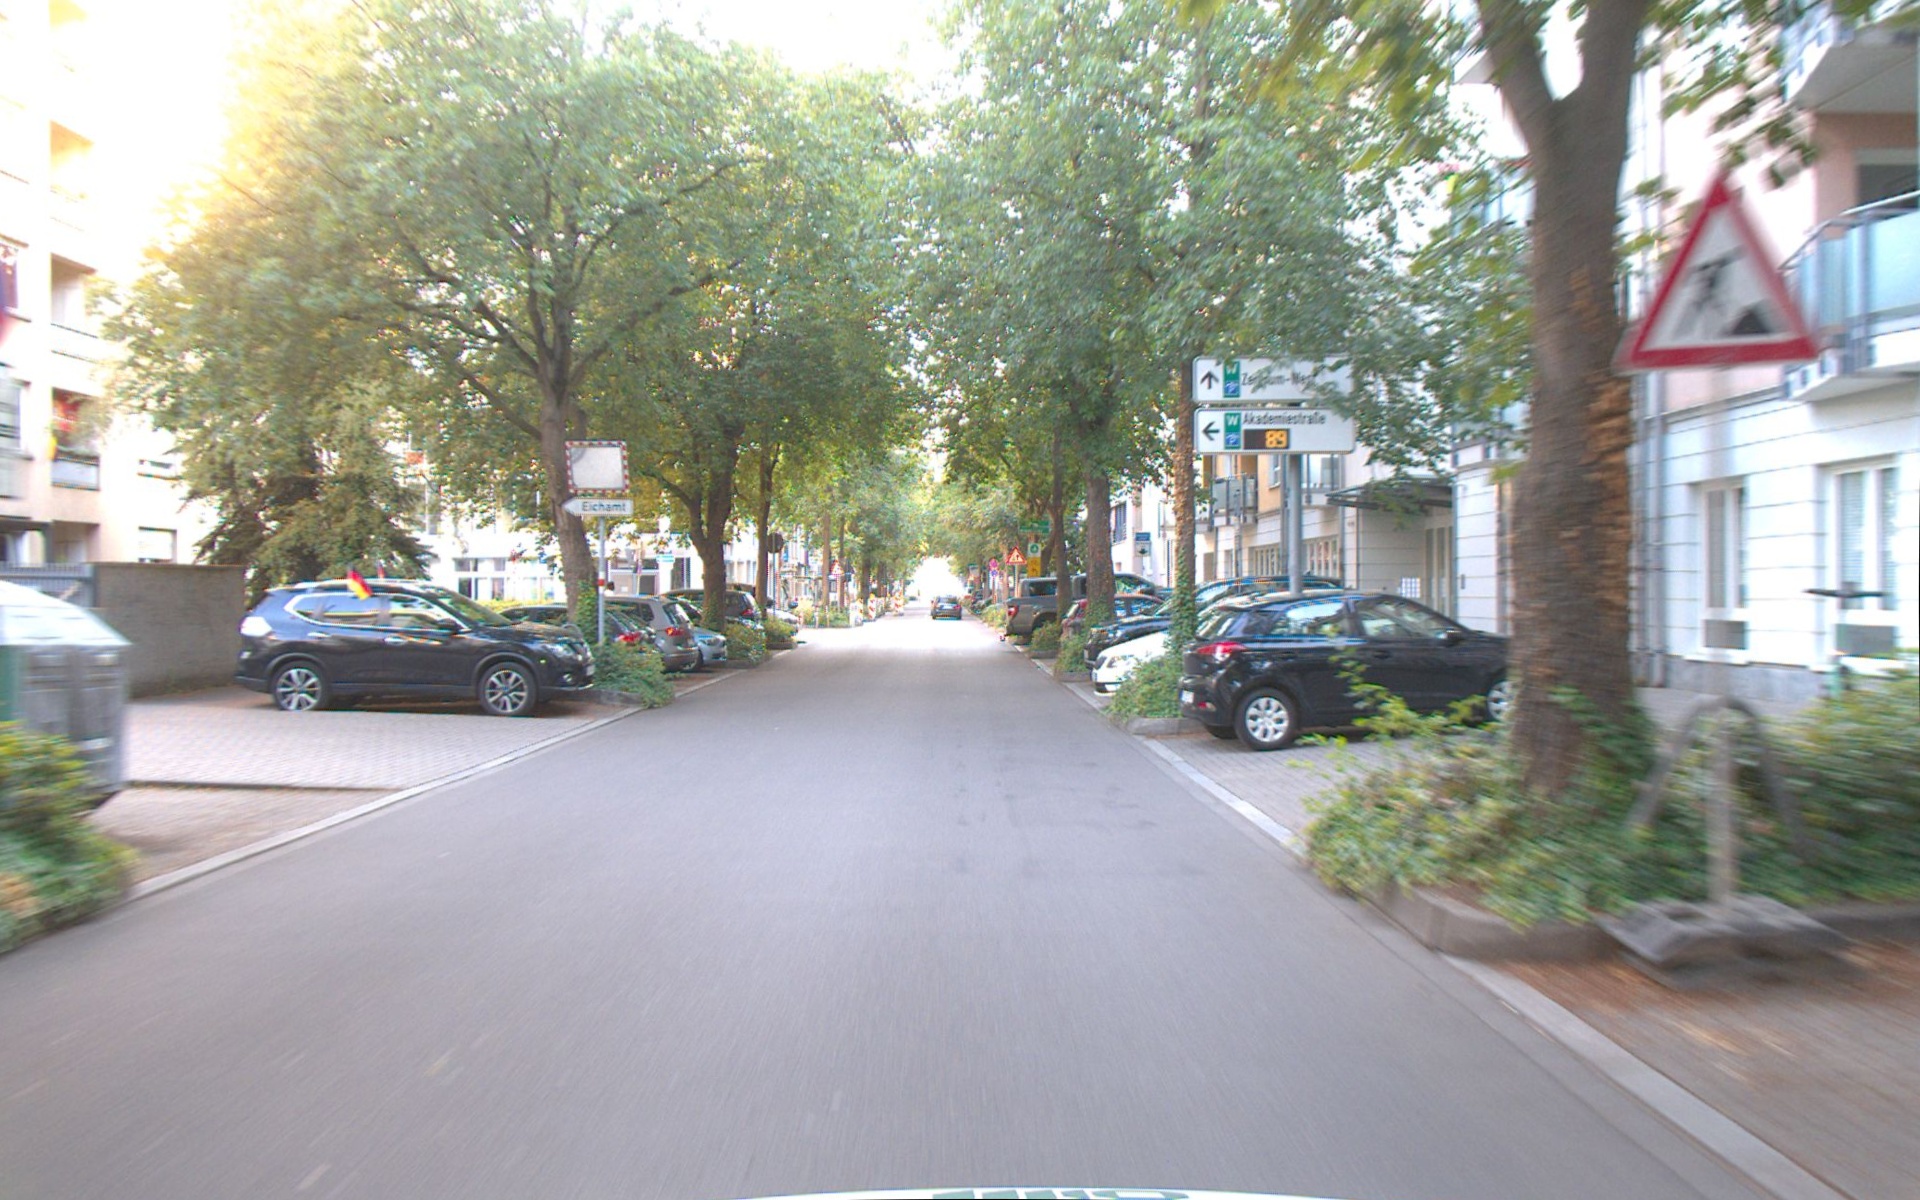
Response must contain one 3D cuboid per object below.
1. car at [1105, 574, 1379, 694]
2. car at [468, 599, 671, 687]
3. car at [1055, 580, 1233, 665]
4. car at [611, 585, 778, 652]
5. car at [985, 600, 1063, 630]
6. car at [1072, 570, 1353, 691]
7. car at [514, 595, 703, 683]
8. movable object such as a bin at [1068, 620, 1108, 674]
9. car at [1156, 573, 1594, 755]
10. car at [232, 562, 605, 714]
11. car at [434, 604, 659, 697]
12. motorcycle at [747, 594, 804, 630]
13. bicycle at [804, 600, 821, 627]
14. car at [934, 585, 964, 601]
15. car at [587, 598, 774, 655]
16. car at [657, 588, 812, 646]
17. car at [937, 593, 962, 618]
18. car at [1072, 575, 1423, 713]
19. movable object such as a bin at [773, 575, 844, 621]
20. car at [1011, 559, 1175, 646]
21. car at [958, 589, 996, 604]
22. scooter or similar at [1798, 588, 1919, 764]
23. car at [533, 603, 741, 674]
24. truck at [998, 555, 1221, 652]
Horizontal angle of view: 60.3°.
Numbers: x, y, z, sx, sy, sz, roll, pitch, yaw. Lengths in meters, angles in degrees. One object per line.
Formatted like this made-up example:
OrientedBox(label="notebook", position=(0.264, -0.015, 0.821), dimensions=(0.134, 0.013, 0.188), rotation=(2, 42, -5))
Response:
OrientedBox(label="car", position=(4.294, 0.513, 25.620), dimensions=(3.905, 1.552, 1.727), rotation=(-4, 0, 1))
OrientedBox(label="car", position=(-7.062, 0.755, 30.144), dimensions=(3.337, 1.533, 1.663), rotation=(0, 0, -3))
OrientedBox(label="car", position=(4.028, 0.511, 36.654), dimensions=(3.592, 1.575, 1.779), rotation=(-4, -1, -3))
OrientedBox(label="car", position=(-7.284, 0.503, 45.715), dimensions=(4.308, 1.714, 2.063), rotation=(1, 0, -3))
OrientedBox(label="car", position=(3.603, 0.863, 93.121), dimensions=(4.345, 1.619, 1.629), rotation=(-1, 0, 1))
OrientedBox(label="car", position=(4.260, 0.491, 28.210), dimensions=(4.303, 1.733, 1.891), rotation=(-3, 0, -9))
OrientedBox(label="car", position=(-6.801, 0.731, 32.238), dimensions=(3.336, 1.637, 1.760), rotation=(0, 0, -3))
OrientedBox(label="movable object such as a bin", position=(2.623, 0.958, 33.947), dimensions=(0.759, 1.086, 0.589), rotation=(0, 0, -2))
OrientedBox(label="car", position=(4.166, 0.606, 17.007), dimensions=(3.910, 1.500, 1.911), rotation=(-4, 0, -5))
OrientedBox(label="car", position=(-7.142, 0.487, 22.176), dimensions=(4.328, 1.925, 1.999), rotation=(0, 0, -2))
OrientedBox(label="car", position=(-6.764, 0.809, 27.304), dimensions=(3.337, 1.467, 1.593), rotation=(0, 0, -3))
OrientedBox(label="motorcycle", position=(-7.817, 0.491, 70.102), dimensions=(2.358, 1.466, 0.790), rotation=(0, 0, -41))
OrientedBox(label="bicycle", position=(-6.516, 0.592, 73.099), dimensions=(0.589, 1.137, 1.799), rotation=(-1, 1, -1))
OrientedBox(label="car", position=(-1.449, -0.981, 221.170), dimensions=(3.904, 2.049, 2.000), rotation=(-1, 0, 1))
OrientedBox(label="car", position=(-7.299, 0.685, 43.590), dimensions=(4.621, 1.449, 2.070), rotation=(0, 0, -3))
OrientedBox(label="car", position=(-6.877, 0.519, 50.792), dimensions=(4.406, 1.609, 2.055), rotation=(1, -1, 0))
OrientedBox(label="car", position=(-0.629, 0.320, 100.937), dimensions=(1.470, 1.441, 3.713), rotation=(-1, 0, -1))
OrientedBox(label="car", position=(3.903, 0.584, 22.968), dimensions=(4.480, 1.579, 1.772), rotation=(-3, 0, -2))
OrientedBox(label="movable object such as a bin", position=(-8.093, -0.089, 88.595), dimensions=(3.592, 2.373, 2.582), rotation=(-1, 0, -3))
OrientedBox(label="car", position=(3.883, 0.074, 48.897), dimensions=(4.527, 2.170, 2.036), rotation=(-4, 0, -1))
OrientedBox(label="car", position=(1.785, -0.389, 177.083), dimensions=(3.908, 1.625, 1.998), rotation=(0, 0, -4))
OrientedBox(label="scooter or similar", position=(6.857, 0.542, 12.490), dimensions=(0.391, 1.262, 1.253), rotation=(0, 0, -1))
OrientedBox(label="car", position=(-6.674, 0.785, 34.501), dimensions=(4.018, 1.403, 1.746), rotation=(1, 0, -3))
OrientedBox(label="truck", position=(4.120, 0.090, 46.353), dimensions=(5.883, 2.170, 2.260), rotation=(-5, 0, -1))
